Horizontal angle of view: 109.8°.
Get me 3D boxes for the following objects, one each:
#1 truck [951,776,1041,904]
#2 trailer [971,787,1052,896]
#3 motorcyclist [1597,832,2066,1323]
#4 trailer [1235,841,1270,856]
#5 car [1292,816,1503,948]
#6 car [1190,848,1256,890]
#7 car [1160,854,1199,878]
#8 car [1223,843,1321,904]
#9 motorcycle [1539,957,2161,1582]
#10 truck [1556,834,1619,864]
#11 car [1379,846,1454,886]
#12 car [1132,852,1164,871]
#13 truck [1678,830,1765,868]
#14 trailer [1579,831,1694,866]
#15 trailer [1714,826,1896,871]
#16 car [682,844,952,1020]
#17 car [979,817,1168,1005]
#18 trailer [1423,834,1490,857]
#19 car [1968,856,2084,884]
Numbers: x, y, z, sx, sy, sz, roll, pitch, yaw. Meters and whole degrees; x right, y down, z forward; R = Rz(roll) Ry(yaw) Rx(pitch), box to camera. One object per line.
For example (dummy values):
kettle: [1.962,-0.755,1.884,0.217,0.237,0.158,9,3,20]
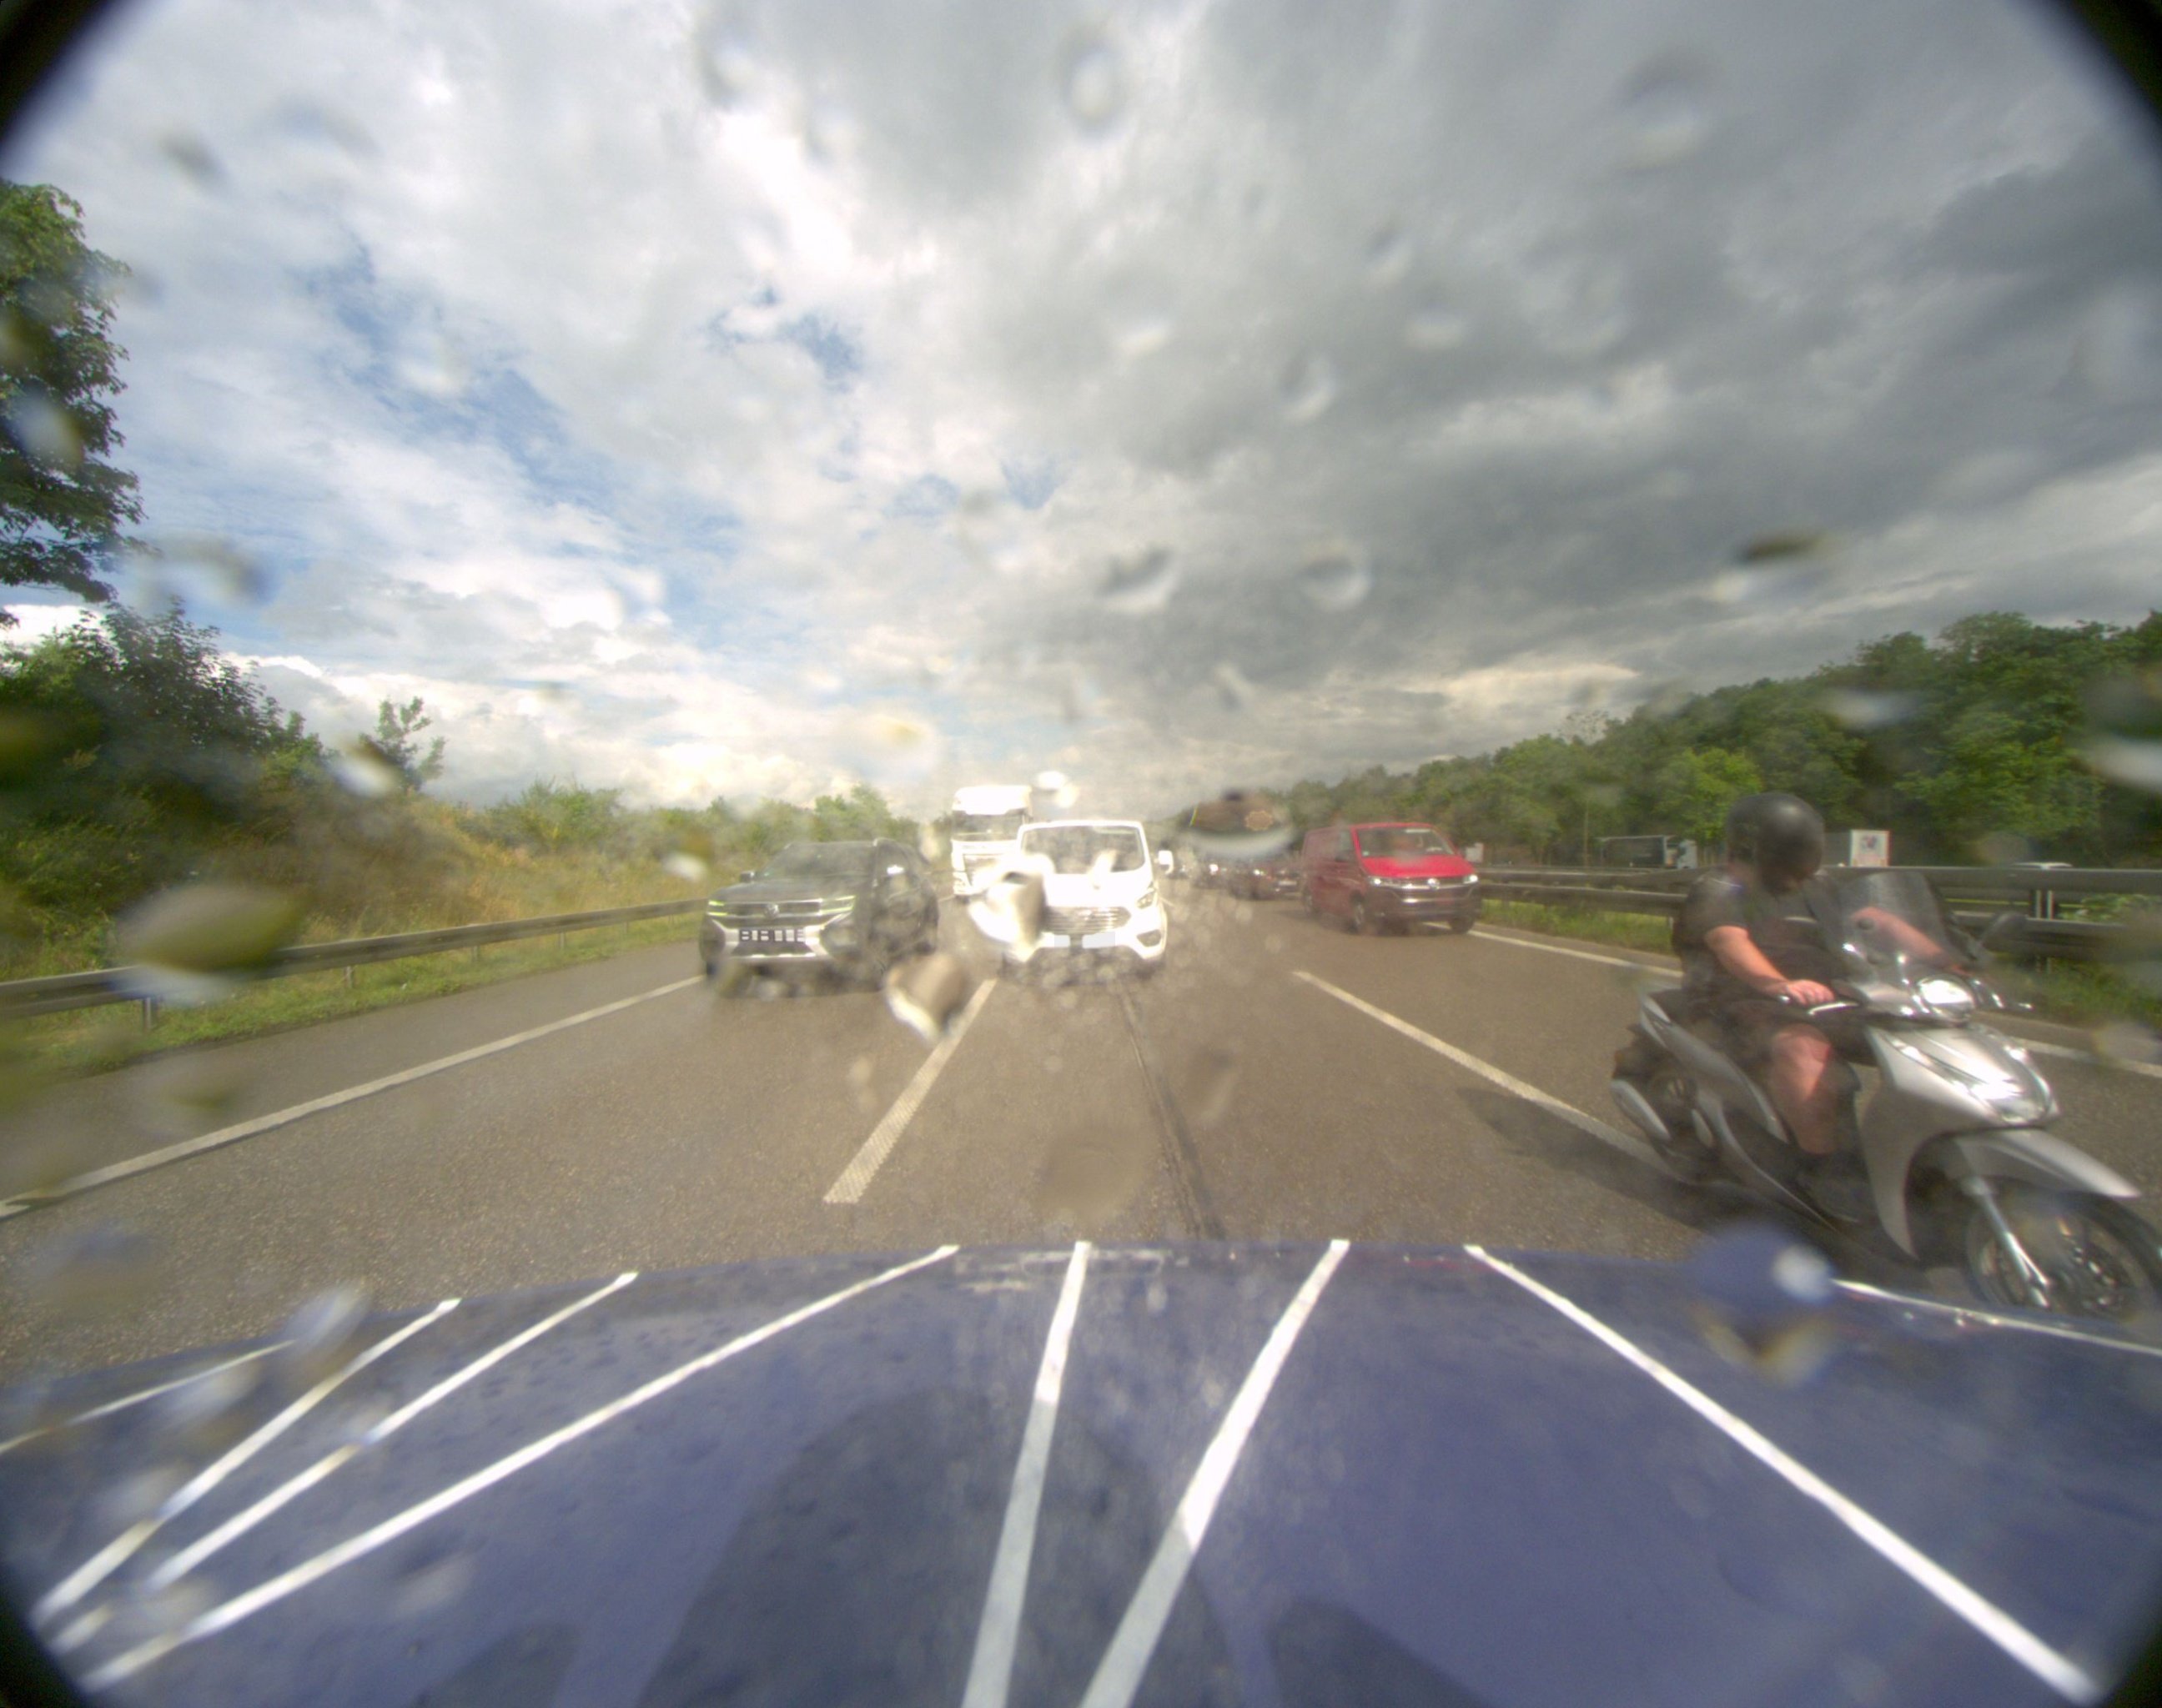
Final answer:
truck: [-2.914,-0.455,27.395,2.460,4.080,5.332,-2,0,0]
trailer: [-2.871,-0.539,35.131,2.451,4.095,12.214,-2,1,0]
motorcyclist: [2.583,0.658,2.765,0.672,1.434,1.019,-2,1,-3]
trailer: [42.327,-1.335,188.489,2.707,3.492,13.404,0,1,-14]
car: [5.537,0.424,14.095,1.895,1.973,4.750,-2,0,0]
car: [5.695,0.568,30.896,1.895,1.558,4.053,-2,1,0]
car: [5.545,0.678,43.288,1.675,1.228,4.000,-2,0,0]
car: [5.771,0.524,23.505,1.895,1.660,4.294,-2,1,0]
motorcycle: [2.602,1.057,2.682,0.678,1.080,1.981,-2,0,-3]
truck: [56.482,-0.621,84.920,2.582,3.232,6.535,0,1,0]
car: [18.189,0.578,41.458,1.998,2.002,4.730,-2,1,0]
car: [4.880,0.543,55.653,1.888,1.228,4.506,-2,0,0]
truck: [56.228,-0.454,66.924,3.049,3.165,5.597,0,0,2]
trailer: [56.463,-0.561,77.888,2.611,3.253,12.647,0,0,0]
trailer: [55.937,-0.411,59.493,3.026,3.174,12.175,0,0,2]
car: [-3.201,0.795,10.561,1.831,1.793,5.305,-1,0,0]
car: [-0.073,0.608,10.810,1.985,1.973,5.168,-2,0,0]
trailer: [55.418,-1.225,112.663,3.193,3.253,12.644,0,0,-2]
car: [54.587,0.895,44.015,1.899,1.494,4.001,0,0,4]
